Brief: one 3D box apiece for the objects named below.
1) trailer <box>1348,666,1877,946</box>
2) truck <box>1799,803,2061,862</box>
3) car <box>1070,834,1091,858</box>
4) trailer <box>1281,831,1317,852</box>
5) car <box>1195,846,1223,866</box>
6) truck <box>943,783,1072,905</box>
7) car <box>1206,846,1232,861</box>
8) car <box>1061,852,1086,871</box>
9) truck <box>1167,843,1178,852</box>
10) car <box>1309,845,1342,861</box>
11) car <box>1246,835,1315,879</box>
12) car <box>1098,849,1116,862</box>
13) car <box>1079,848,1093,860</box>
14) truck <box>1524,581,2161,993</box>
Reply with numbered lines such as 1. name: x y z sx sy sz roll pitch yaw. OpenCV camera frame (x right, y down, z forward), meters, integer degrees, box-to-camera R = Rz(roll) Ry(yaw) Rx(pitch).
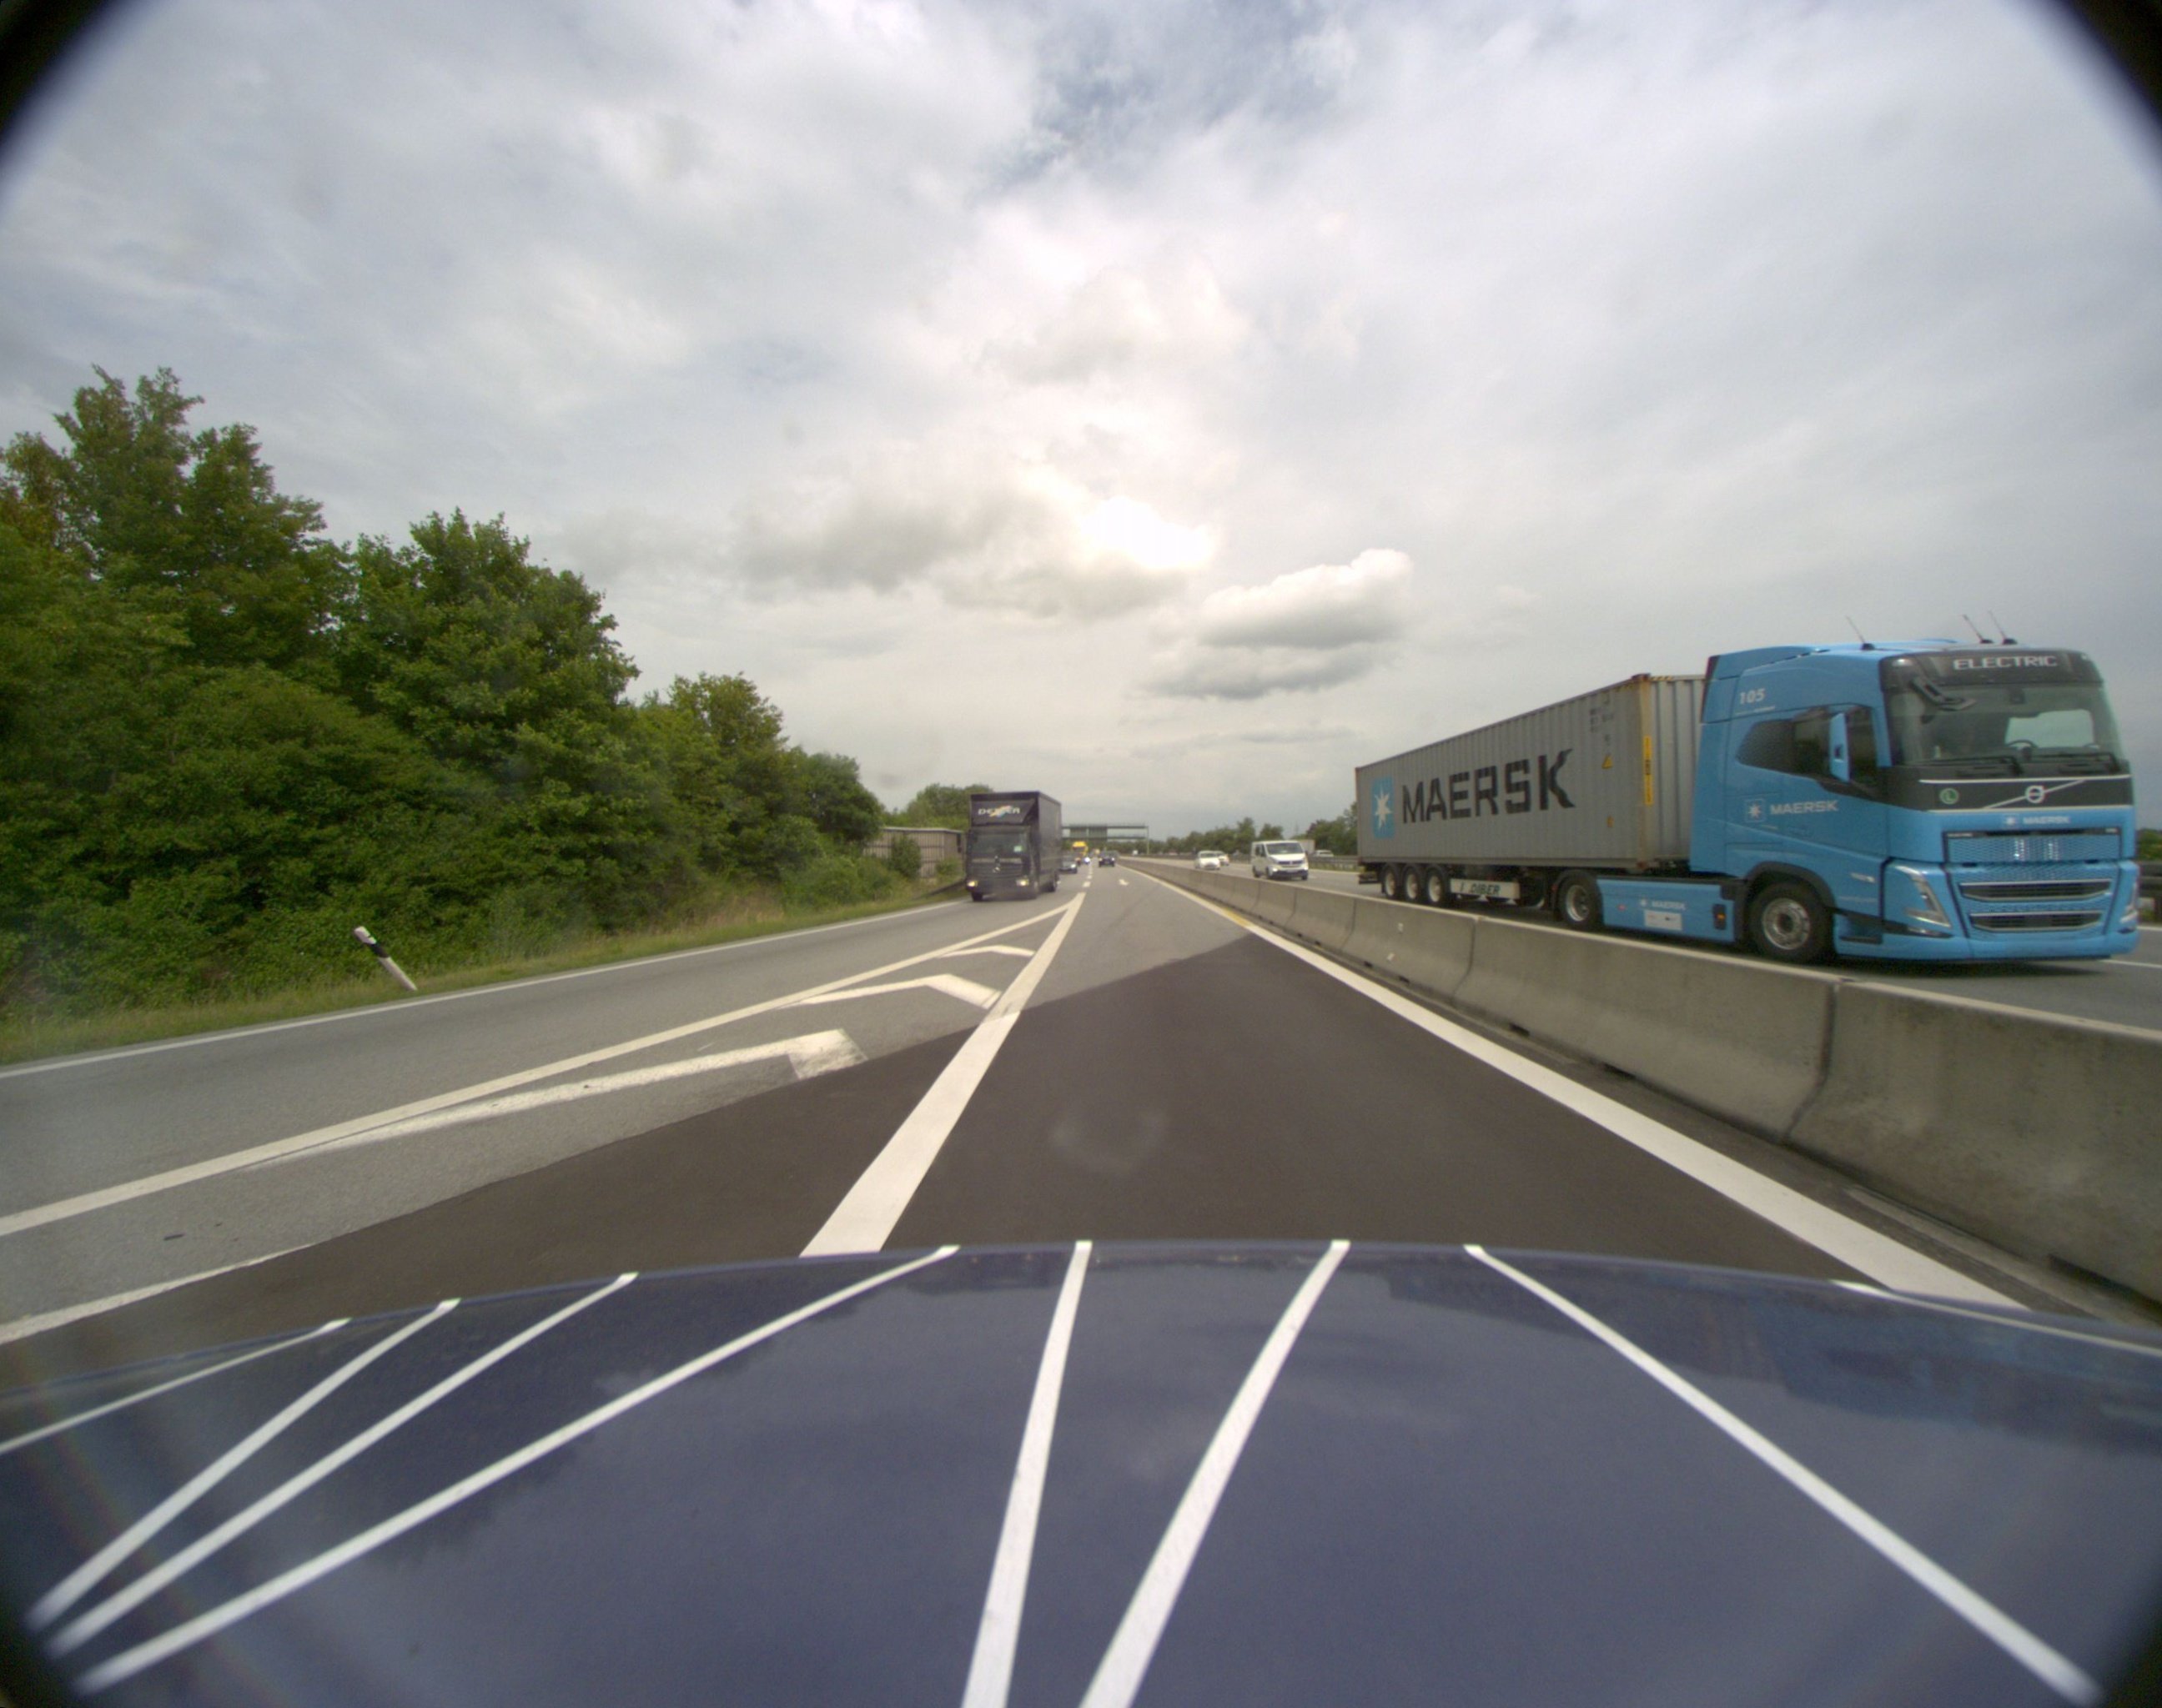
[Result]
1. trailer: 9.856 -0.754 17.147 3.244 3.902 12.378 -3 1 0
2. truck: 44.177 -1.012 40.087 2.918 2.758 8.767 -2 0 -18
3. car: 0.033 -1.552 149.609 3.394 4.457 11.608 -2 1 3
4. trailer: 35.513 -1.995 124.173 3.205 3.250 9.823 -2 0 1
5. car: 10.152 0.163 60.548 1.684 1.476 3.774 -2 1 2
6. truck: -2.516 -0.381 30.350 3.023 3.931 10.344 -2 0 6
7. car: 13.871 -0.051 76.510 1.757 1.361 4.205 -2 1 -1
8. car: -0.577 0.589 61.389 1.866 1.434 3.999 -2 0 0
9. truck: 24.800 -1.861 206.123 2.282 2.356 6.200 -2 0 1
10. car: 23.329 -0.143 72.641 1.897 1.415 3.999 -2 0 0
11. car: 9.821 0.105 37.802 2.004 1.927 5.131 -3 1 0
12. car: 2.999 0.161 87.884 1.866 1.434 3.999 -2 0 0
13. car: 0.800 -0.071 116.269 1.785 1.761 4.000 -2 1 3
14. truck: 9.755 -0.680 10.648 3.255 3.889 6.609 -2 1 1
